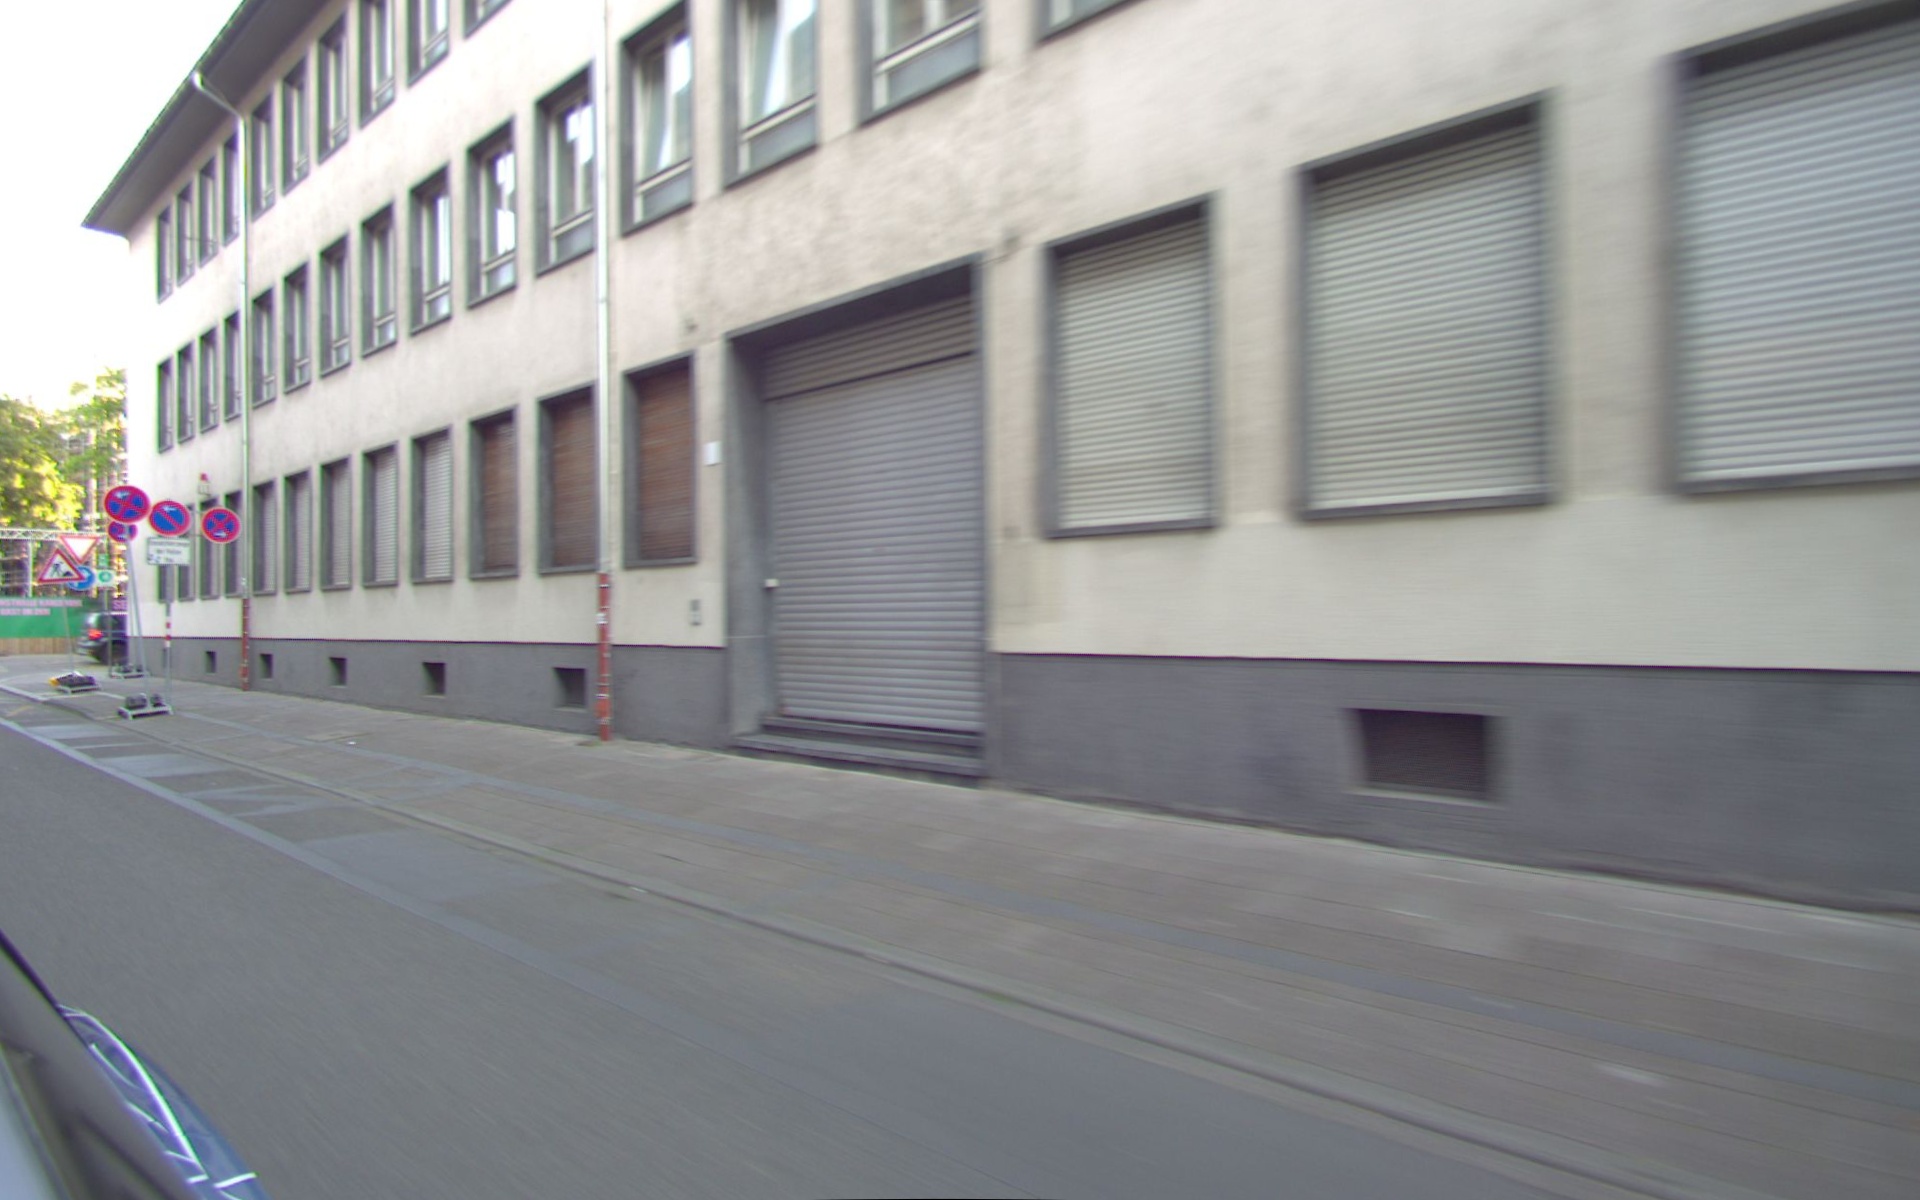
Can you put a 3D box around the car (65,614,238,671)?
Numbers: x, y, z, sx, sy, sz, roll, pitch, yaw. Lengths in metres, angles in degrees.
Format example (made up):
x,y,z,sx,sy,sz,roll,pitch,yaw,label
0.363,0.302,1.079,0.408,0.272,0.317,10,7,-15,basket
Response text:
x,y,z,sx,sy,sz,roll,pitch,yaw,label
-26.226,1.319,32.902,1.937,1.670,4.191,-1,-1,44,car
